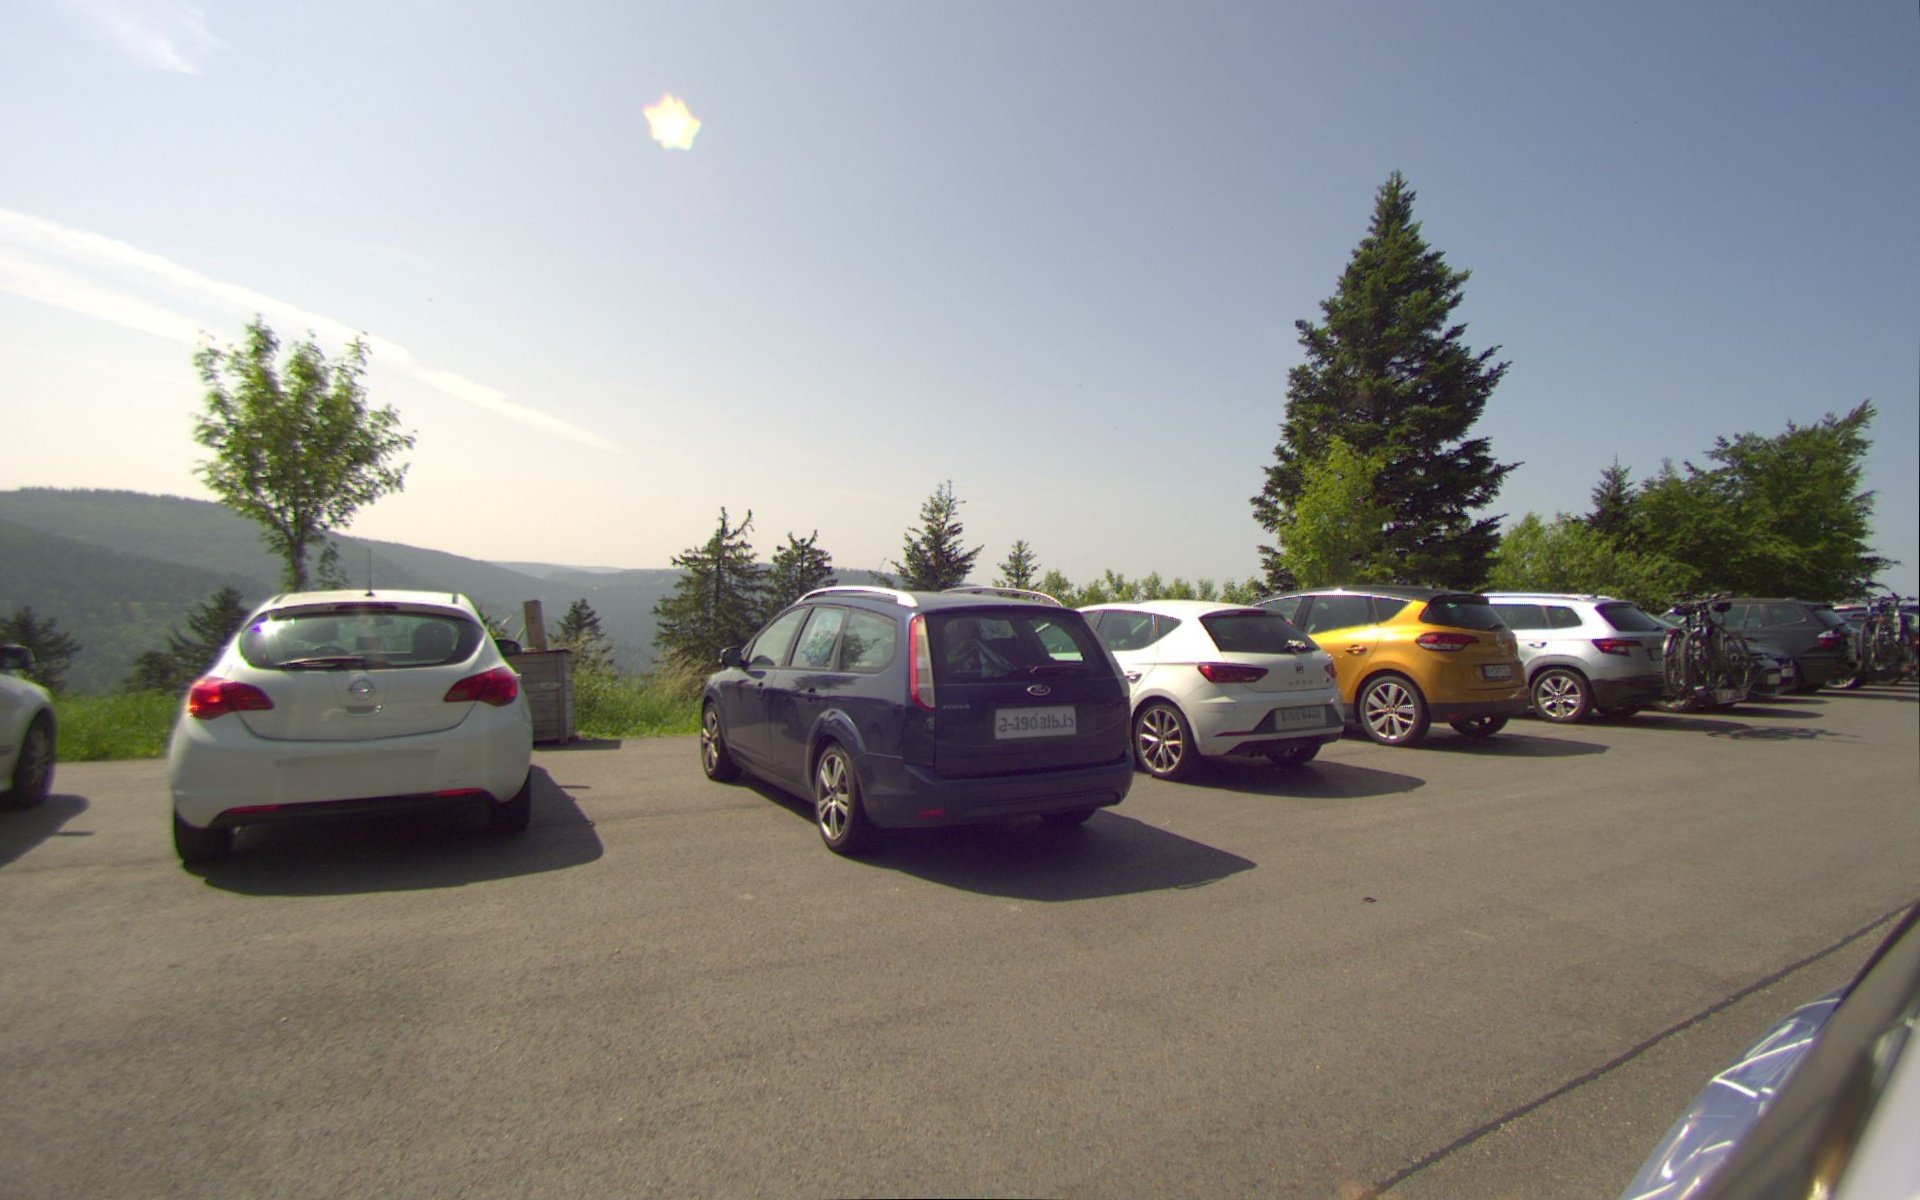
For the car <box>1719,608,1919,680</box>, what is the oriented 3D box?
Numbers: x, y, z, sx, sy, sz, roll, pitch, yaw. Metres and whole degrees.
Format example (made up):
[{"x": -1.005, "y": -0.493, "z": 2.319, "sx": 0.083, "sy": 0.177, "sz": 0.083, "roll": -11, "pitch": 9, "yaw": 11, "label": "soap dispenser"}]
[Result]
[{"x": 18.821, "y": 0.894, "z": 21.834, "sx": 1.709, "sy": 1.368, "sz": 3.678, "roll": 1, "pitch": 0, "yaw": -42, "label": "car"}]

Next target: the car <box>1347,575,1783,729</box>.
[{"x": 7.640, "y": 0.590, "z": 13.231, "sx": 1.975, "sy": 1.647, "sz": 4.488, "roll": 1, "pitch": -1, "yaw": -36, "label": "car"}]

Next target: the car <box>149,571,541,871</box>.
[{"x": -4.035, "y": 0.595, "z": 7.037, "sx": 1.730, "sy": 1.438, "sz": 4.005, "roll": 0, "pitch": -1, "yaw": -27, "label": "car"}]

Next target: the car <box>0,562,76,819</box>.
[{"x": -6.436, "y": 0.558, "z": 5.348, "sx": 1.730, "sy": 1.594, "sz": 4.005, "roll": 0, "pitch": 0, "yaw": -27, "label": "car"}]

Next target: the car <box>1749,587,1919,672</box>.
[{"x": 21.155, "y": 0.644, "z": 23.347, "sx": 1.963, "sy": 1.845, "sz": 4.325, "roll": 1, "pitch": 0, "yaw": -37, "label": "car"}]

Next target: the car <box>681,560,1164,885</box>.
[{"x": -0.593, "y": 0.586, "z": 7.085, "sx": 1.638, "sy": 1.563, "sz": 4.148, "roll": 1, "pitch": 0, "yaw": -30, "label": "car"}]

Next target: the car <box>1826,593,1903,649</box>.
[{"x": 32.636, "y": 0.703, "z": 36.473, "sx": 3.820, "sy": 1.864, "sz": 1.862, "roll": 0, "pitch": 1, "yaw": -45, "label": "car"}]

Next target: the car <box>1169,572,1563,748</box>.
[{"x": 4.402, "y": 0.612, "z": 11.538, "sx": 1.677, "sy": 1.636, "sz": 3.889, "roll": 1, "pitch": -2, "yaw": -34, "label": "car"}]

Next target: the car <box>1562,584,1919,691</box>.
[{"x": 14.053, "y": 0.680, "z": 18.238, "sx": 1.962, "sy": 1.641, "sz": 5.115, "roll": 1, "pitch": -3, "yaw": -35, "label": "car"}]

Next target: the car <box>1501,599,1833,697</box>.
[{"x": 11.848, "y": 0.770, "z": 17.282, "sx": 1.657, "sy": 1.450, "sz": 4.327, "roll": 1, "pitch": -2, "yaw": -33, "label": "car"}]

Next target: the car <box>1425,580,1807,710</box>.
[{"x": 9.530, "y": 0.634, "z": 15.078, "sx": 1.720, "sy": 1.639, "sz": 4.430, "roll": 1, "pitch": -2, "yaw": -36, "label": "car"}]

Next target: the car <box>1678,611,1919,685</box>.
[{"x": 16.381, "y": 0.876, "z": 19.644, "sx": 1.535, "sy": 1.285, "sz": 3.709, "roll": 2, "pitch": -2, "yaw": -36, "label": "car"}]

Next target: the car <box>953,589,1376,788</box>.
[{"x": 1.653, "y": 0.672, "z": 9.443, "sx": 1.582, "sy": 1.438, "sz": 3.897, "roll": -1, "pitch": -1, "yaw": -33, "label": "car"}]
